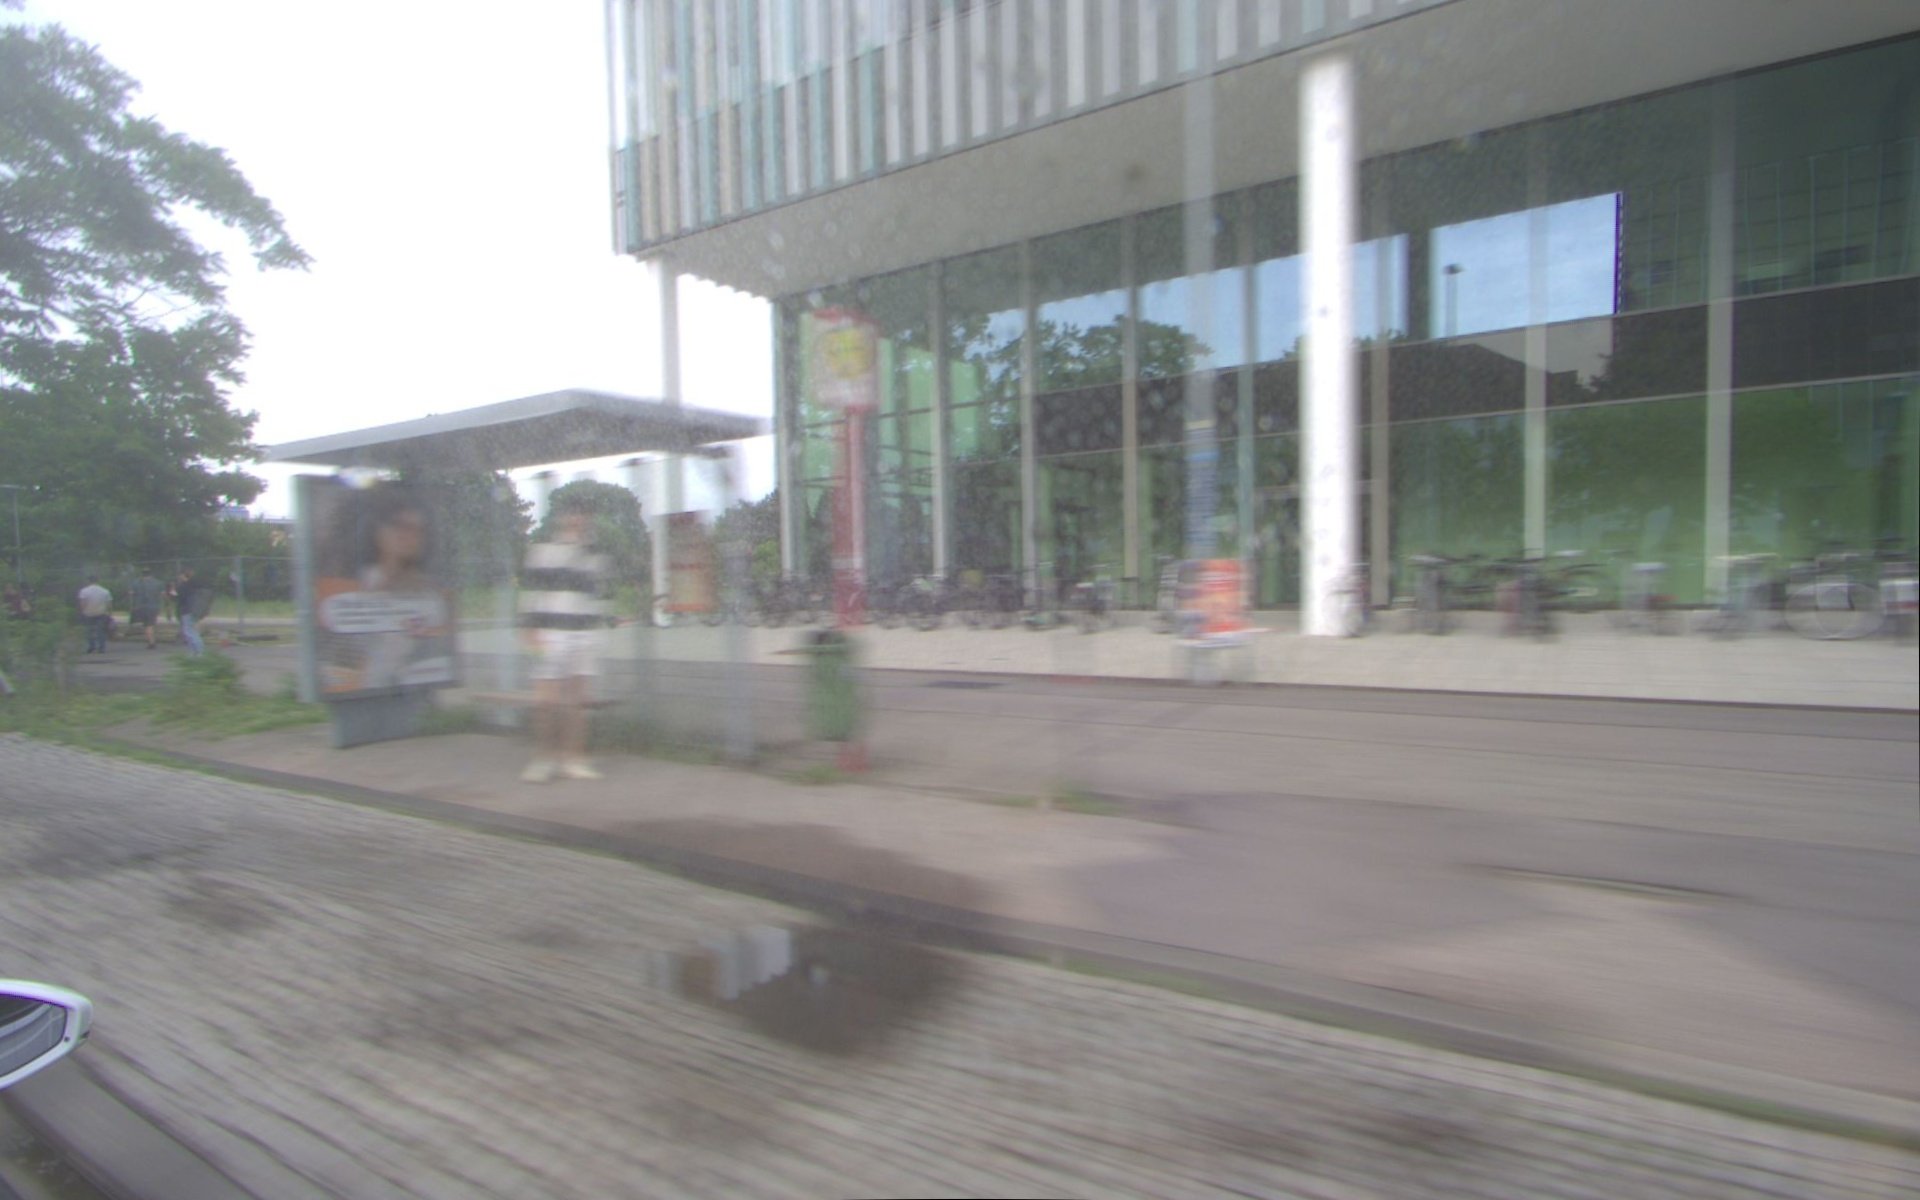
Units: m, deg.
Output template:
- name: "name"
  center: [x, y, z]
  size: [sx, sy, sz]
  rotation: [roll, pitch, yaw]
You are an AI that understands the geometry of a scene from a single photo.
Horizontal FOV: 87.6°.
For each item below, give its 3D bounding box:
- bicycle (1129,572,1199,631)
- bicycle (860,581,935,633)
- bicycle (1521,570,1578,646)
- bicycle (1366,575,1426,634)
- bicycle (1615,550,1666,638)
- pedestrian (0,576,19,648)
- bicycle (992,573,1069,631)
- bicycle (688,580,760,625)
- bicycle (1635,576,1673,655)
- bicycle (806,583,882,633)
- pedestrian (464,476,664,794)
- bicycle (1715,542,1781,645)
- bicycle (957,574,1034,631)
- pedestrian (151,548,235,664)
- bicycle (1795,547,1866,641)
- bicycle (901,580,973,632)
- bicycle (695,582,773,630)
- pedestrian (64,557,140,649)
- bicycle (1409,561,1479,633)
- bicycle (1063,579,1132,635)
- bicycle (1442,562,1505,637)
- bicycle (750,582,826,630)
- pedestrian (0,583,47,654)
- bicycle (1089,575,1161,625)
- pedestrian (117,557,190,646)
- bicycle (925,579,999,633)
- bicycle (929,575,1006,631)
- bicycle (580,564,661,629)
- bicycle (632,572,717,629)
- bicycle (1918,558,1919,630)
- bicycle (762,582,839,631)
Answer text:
- name: "bicycle"
  center: [3.256, 0.003, 15.910]
  size: [0.548, 0.845, 1.527]
  rotation: [0, 3, 34]
- name: "bicycle"
  center: [-1.182, 0.119, 19.125]
  size: [0.548, 0.887, 1.601]
  rotation: [0, 3, 34]
- name: "bicycle"
  center: [7.506, 0.078, 12.732]
  size: [0.548, 0.887, 1.279]
  rotation: [0, 3, 34]
- name: "bicycle"
  center: [6.245, 0.050, 14.317]
  size: [0.548, 0.756, 1.430]
  rotation: [0, 3, 34]
- name: "bicycle"
  center: [8.758, -0.091, 12.871]
  size: [0.429, 1.064, 1.192]
  rotation: [0, 4, 40]
- name: "pedestrian"
  center: [-27.738, 0.355, 28.725]
  size: [0.710, 2.042, 0.821]
  rotation: [0, 4, 33]
- name: "bicycle"
  center: [1.204, 0.017, 16.800]
  size: [0.548, 0.887, 1.601]
  rotation: [0, 3, 34]
- name: "bicycle"
  center: [-5.045, 0.037, 21.516]
  size: [0.548, 0.887, 1.603]
  rotation: [0, 2, 30]
- name: "bicycle"
  center: [8.737, 0.171, 12.637]
  size: [0.361, 0.908, 1.601]
  rotation: [0, 2, 34]
- name: "bicycle"
  center: [-2.253, 0.141, 19.630]
  size: [0.548, 0.887, 1.601]
  rotation: [0, 3, 34]
- name: "pedestrian"
  center: [-2.749, 0.194, 7.007]
  size: [0.841, 2.043, 0.909]
  rotation: [2, 5, 32]
- name: "bicycle"
  center: [9.438, -0.107, 12.033]
  size: [0.565, 1.117, 1.637]
  rotation: [0, 4, 36]
- name: "bicycle"
  center: [0.624, 0.032, 17.185]
  size: [0.548, 0.887, 1.601]
  rotation: [0, 3, 34]
- name: "pedestrian"
  center: [-13.869, 0.098, 18.117]
  size: [0.880, 2.041, 0.841]
  rotation: [0, 2, 28]
- name: "bicycle"
  center: [10.178, -0.087, 11.735]
  size: [0.542, 1.022, 1.237]
  rotation: [0, 3, 38]
- name: "bicycle"
  center: [-0.409, 0.098, 18.580]
  size: [0.509, 0.896, 1.599]
  rotation: [0, 2, 33]
- name: "bicycle"
  center: [-4.630, 0.109, 20.614]
  size: [0.548, 0.887, 1.601]
  rotation: [0, 3, 34]
- name: "pedestrian"
  center: [-19.543, 0.056, 22.818]
  size: [1.024, 2.041, 0.924]
  rotation: [0, 3, 29]
- name: "bicycle"
  center: [6.852, -0.065, 14.139]
  size: [0.510, 0.960, 1.683]
  rotation: [0, 2, 40]
- name: "bicycle"
  center: [2.322, 0.099, 16.771]
  size: [0.548, 0.851, 1.450]
  rotation: [0, 3, 34]
- name: "bicycle"
  center: [6.705, -0.032, 13.049]
  size: [0.548, 0.887, 1.601]
  rotation: [0, 3, 34]
- name: "bicycle"
  center: [-3.518, 0.108, 20.581]
  size: [0.548, 0.887, 1.601]
  rotation: [0, 3, 34]
- name: "pedestrian"
  center: [-27.528, 0.535, 29.406]
  size: [0.710, 2.041, 0.821]
  rotation: [0, 3, 33]
- name: "bicycle"
  center: [2.694, -0.007, 16.263]
  size: [0.548, 0.726, 1.555]
  rotation: [0, 3, 34]
- name: "pedestrian"
  center: [-18.888, 0.028, 23.460]
  size: [1.024, 2.041, 0.924]
  rotation: [0, 3, 29]
- name: "bicycle"
  center: [0.058, 0.090, 18.272]
  size: [0.548, 0.887, 1.601]
  rotation: [0, 3, 34]
- name: "bicycle"
  center: [0.150, 0.034, 17.512]
  size: [0.548, 0.887, 1.601]
  rotation: [0, 3, 34]
- name: "bicycle"
  center: [-7.690, -0.095, 22.735]
  size: [1.635, 1.352, 0.458]
  rotation: [-6, 5, -44]
- name: "bicycle"
  center: [-6.191, -0.005, 21.823]
  size: [0.617, 1.097, 1.789]
  rotation: [0, 4, 32]
- name: "bicycle"
  center: [12.424, -0.257, 11.851]
  size: [1.952, 1.161, 0.647]
  rotation: [-3, 4, -16]
- name: "bicycle"
  center: [-3.175, 0.121, 20.052]
  size: [0.548, 0.887, 1.601]
  rotation: [0, 3, 34]
